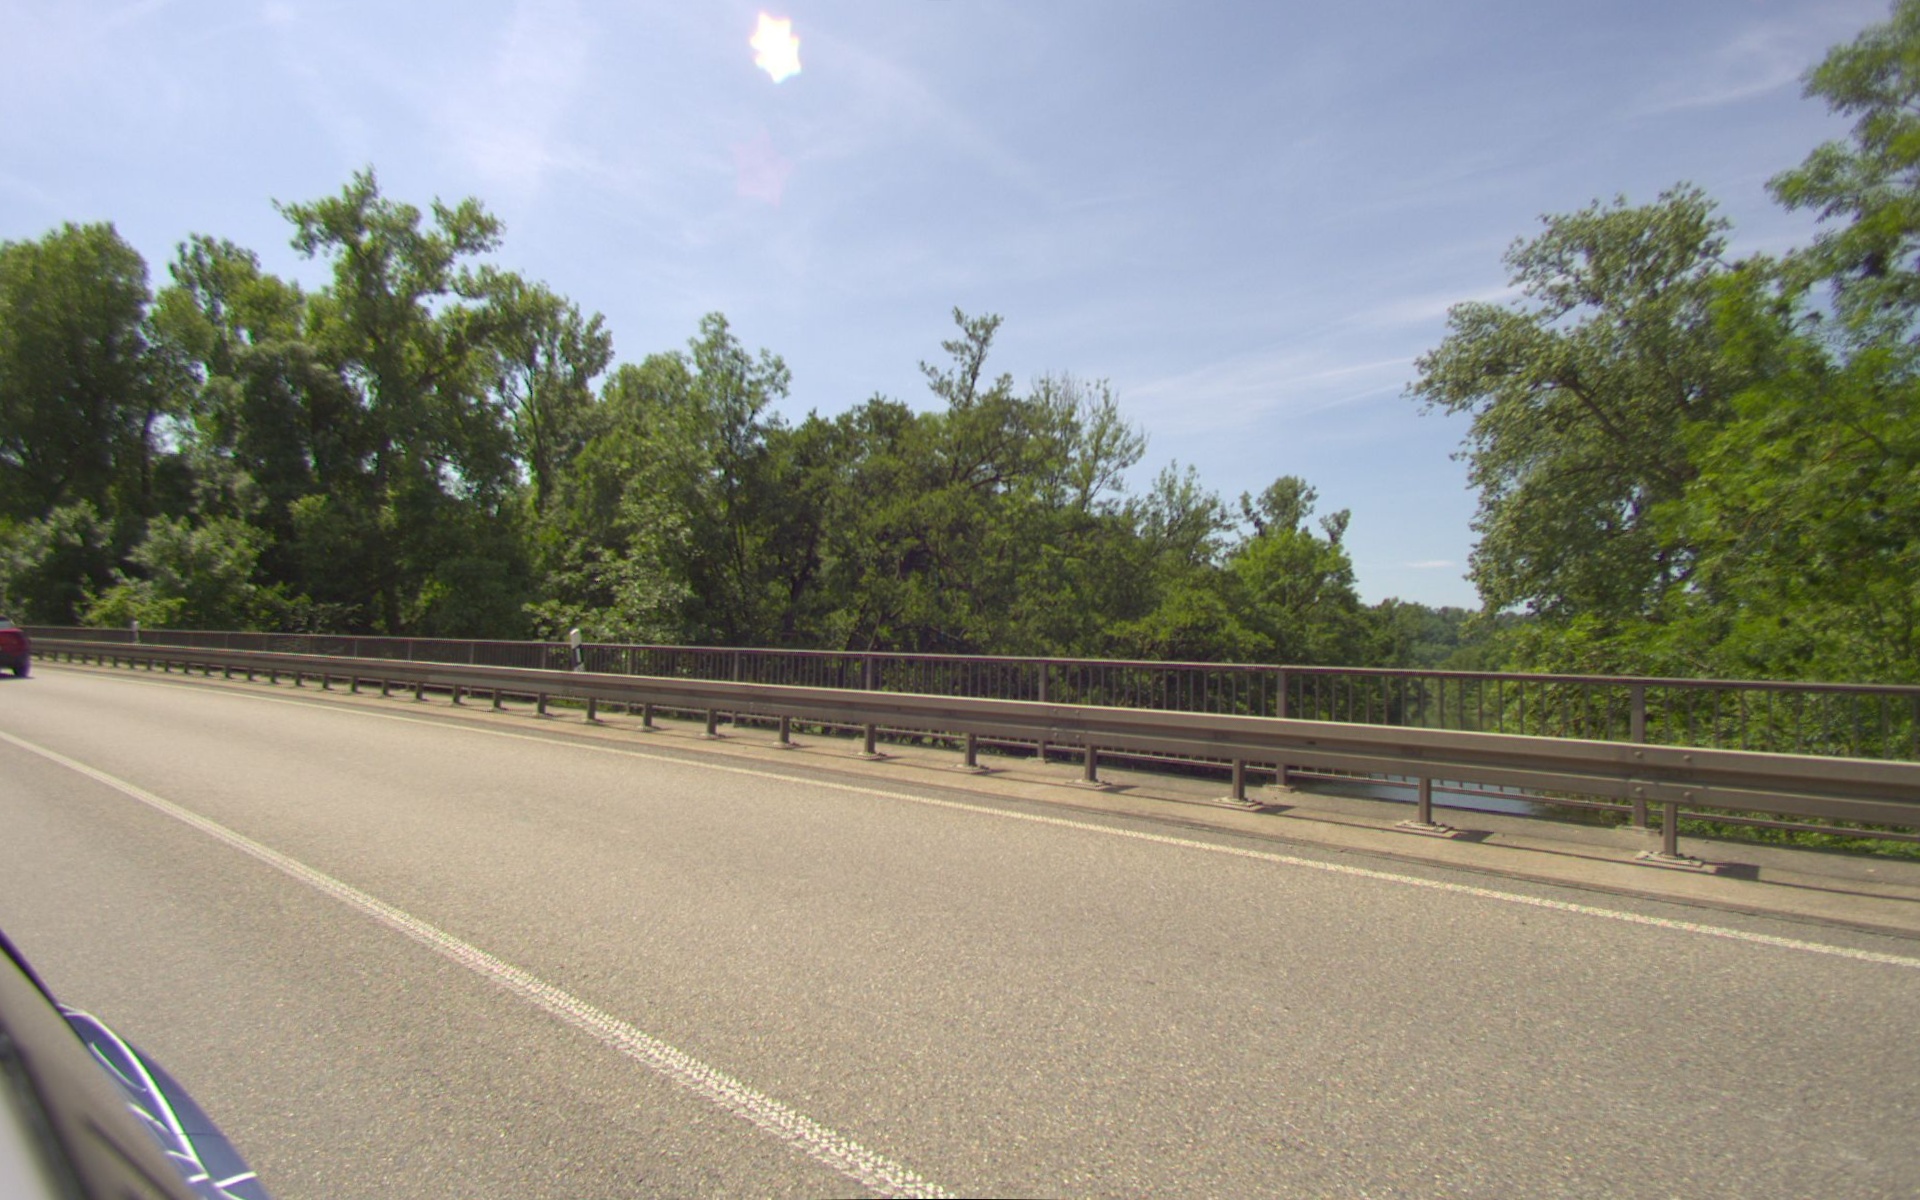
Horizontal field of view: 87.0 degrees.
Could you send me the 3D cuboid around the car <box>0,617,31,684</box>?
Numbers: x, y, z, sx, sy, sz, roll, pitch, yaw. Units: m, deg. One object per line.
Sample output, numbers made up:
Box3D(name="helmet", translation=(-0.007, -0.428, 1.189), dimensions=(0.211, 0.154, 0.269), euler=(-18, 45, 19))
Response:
Box3D(name="car", translation=(-23.854, 1.184, 24.141), dimensions=(3.943, 1.535, 1.802), euler=(-1, -1, 37))
